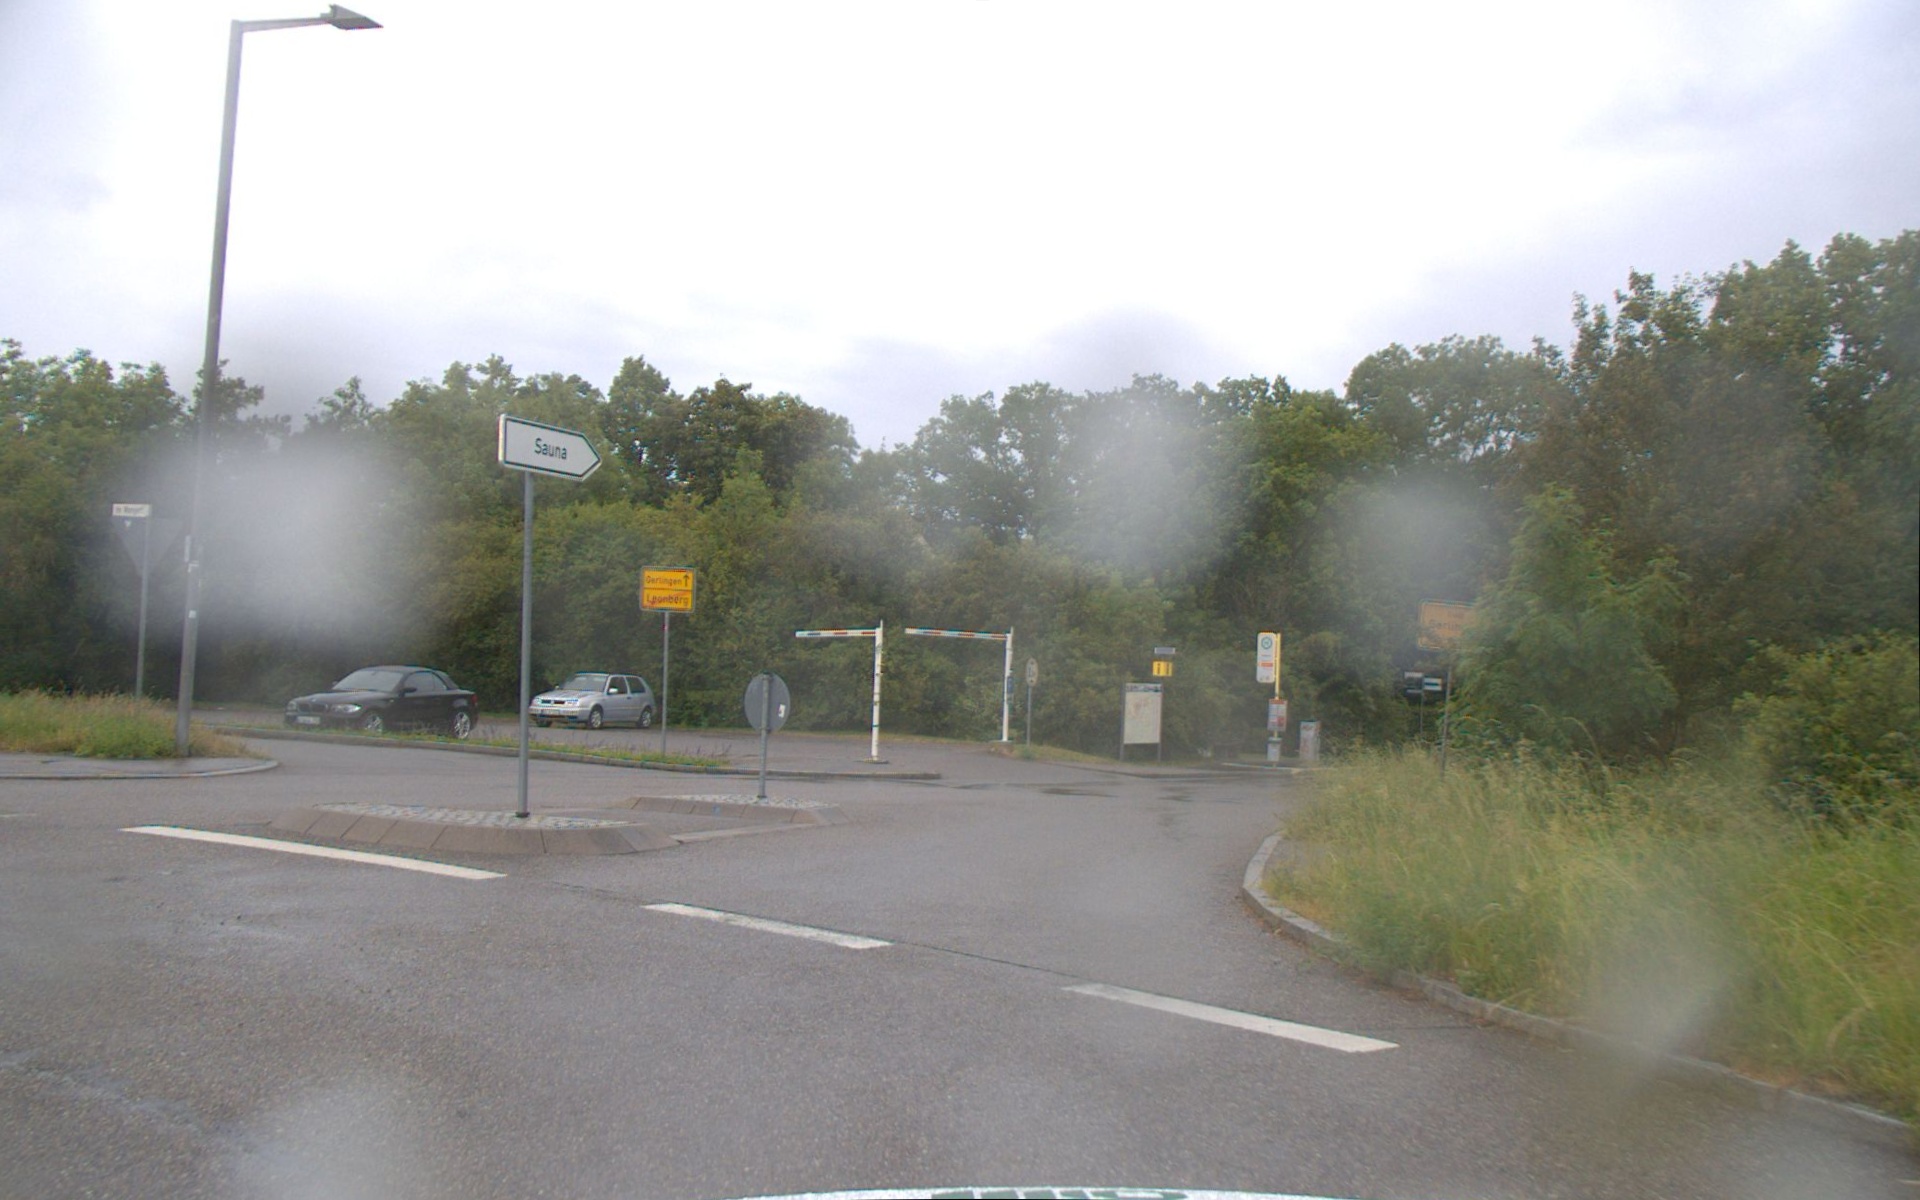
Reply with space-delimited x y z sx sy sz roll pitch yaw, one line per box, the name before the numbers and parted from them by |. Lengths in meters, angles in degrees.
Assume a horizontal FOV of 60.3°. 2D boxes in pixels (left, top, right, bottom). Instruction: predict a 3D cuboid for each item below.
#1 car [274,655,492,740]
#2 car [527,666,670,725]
car | -10.698 1.875 30.995 1.586 1.379 4.190 1 -5 18
car | -9.244 2.450 42.577 1.569 1.379 4.122 1 -3 20
